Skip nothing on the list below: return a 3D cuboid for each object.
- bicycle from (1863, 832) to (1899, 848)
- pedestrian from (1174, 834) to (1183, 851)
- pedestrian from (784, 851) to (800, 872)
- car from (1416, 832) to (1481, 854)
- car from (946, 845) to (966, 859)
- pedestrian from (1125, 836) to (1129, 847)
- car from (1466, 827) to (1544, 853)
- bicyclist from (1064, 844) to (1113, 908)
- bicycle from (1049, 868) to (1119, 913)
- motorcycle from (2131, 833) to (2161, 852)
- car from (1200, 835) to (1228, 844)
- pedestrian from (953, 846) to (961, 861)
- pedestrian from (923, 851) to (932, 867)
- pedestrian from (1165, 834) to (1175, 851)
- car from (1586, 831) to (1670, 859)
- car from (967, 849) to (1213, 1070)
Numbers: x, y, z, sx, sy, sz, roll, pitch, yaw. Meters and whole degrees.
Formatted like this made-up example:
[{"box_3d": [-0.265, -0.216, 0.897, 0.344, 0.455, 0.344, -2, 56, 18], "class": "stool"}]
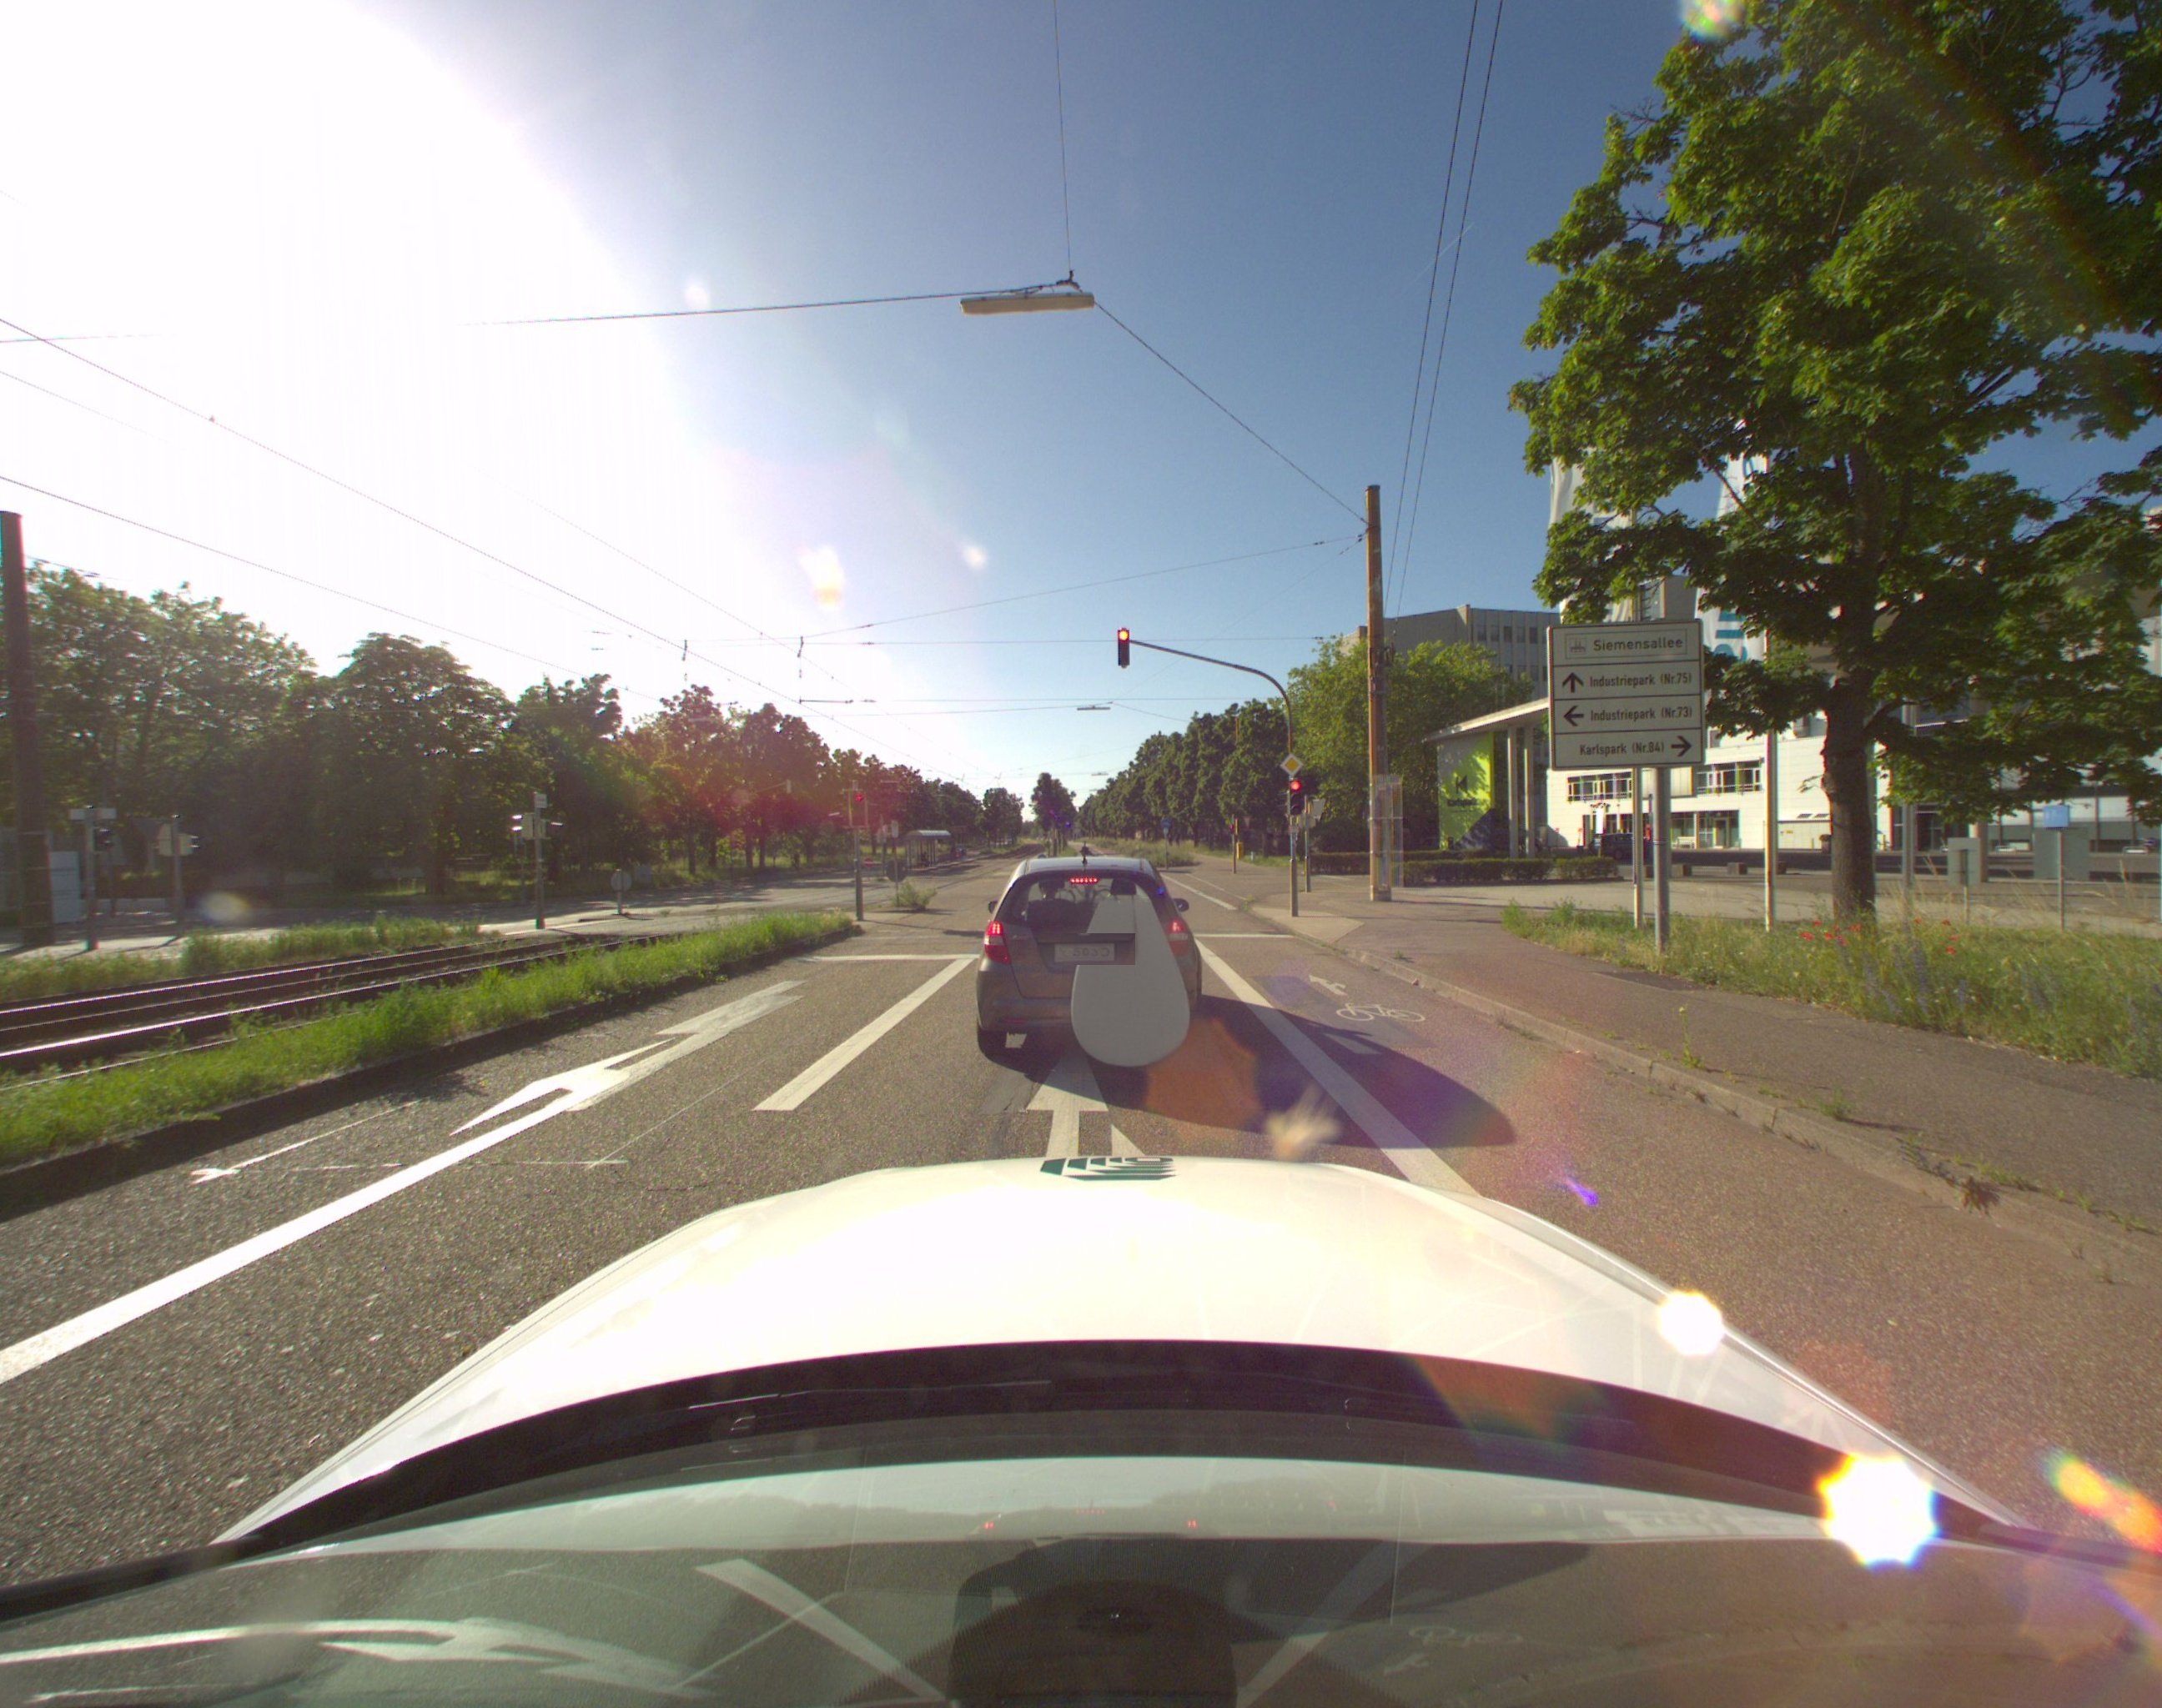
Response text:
[{"box_3d": [52.271, -0.892, 53.238, 0.565, 1.004, 1.614, -2, 1, -13], "class": "bicycle"}, {"box_3d": [10.910, -1.265, 91.371, 0.880, 1.884, 0.875, -2, 1, -2], "class": "pedestrian"}, {"box_3d": [-24.401, 0.609, 68.791, 0.751, 1.734, 0.943, -1, 1, 30], "class": "pedestrian"}, {"box_3d": [30.046, -0.921, 66.658, 4.448, 1.686, 1.892, -2, 1, -4], "class": "car"}, {"box_3d": [-18.246, -0.365, 119.334, 2.087, 1.810, 4.792, -3, 1, 0], "class": "car"}, {"box_3d": [7.856, -2.131, 139.472, 0.723, 1.691, 0.820, -1, -2, -1], "class": "pedestrian"}, {"box_3d": [31.108, -1.045, 59.766, 4.888, 1.757, 2.082, -2, 1, -14], "class": "car"}, {"box_3d": [0.195, 0.558, 20.943, 1.228, 1.593, 0.805, -1, 0, 0], "class": "bicyclist"}, {"box_3d": [0.085, 0.922, 20.960, 1.769, 1.102, 0.699, -1, 0, 0], "class": "bicycle"}, {"box_3d": [54.663, -0.579, 41.252, 0.652, 0.947, 1.727, -2, 1, -13], "class": "motorcycle"}, {"box_3d": [23.504, -2.555, 144.252, 4.623, 1.555, 1.997, -2, 1, -5], "class": "car"}, {"box_3d": [-12.266, -0.051, 80.571, 0.542, 1.447, 0.559, -2, 0, 1], "class": "pedestrian"}, {"box_3d": [-12.444, 0.377, 66.002, 0.562, 1.257, 0.581, -4, 0, 1], "class": "pedestrian"}, {"box_3d": [9.973, -1.259, 91.377, 0.880, 1.884, 0.875, -2, 1, -2], "class": "pedestrian"}, {"box_3d": [33.321, -0.563, 49.636, 3.984, 1.578, 1.949, -1, 0, -8], "class": "car"}, {"box_3d": [0.120, 0.740, 7.545, 1.694, 1.524, 3.711, -1, 0, 2], "class": "car"}]
